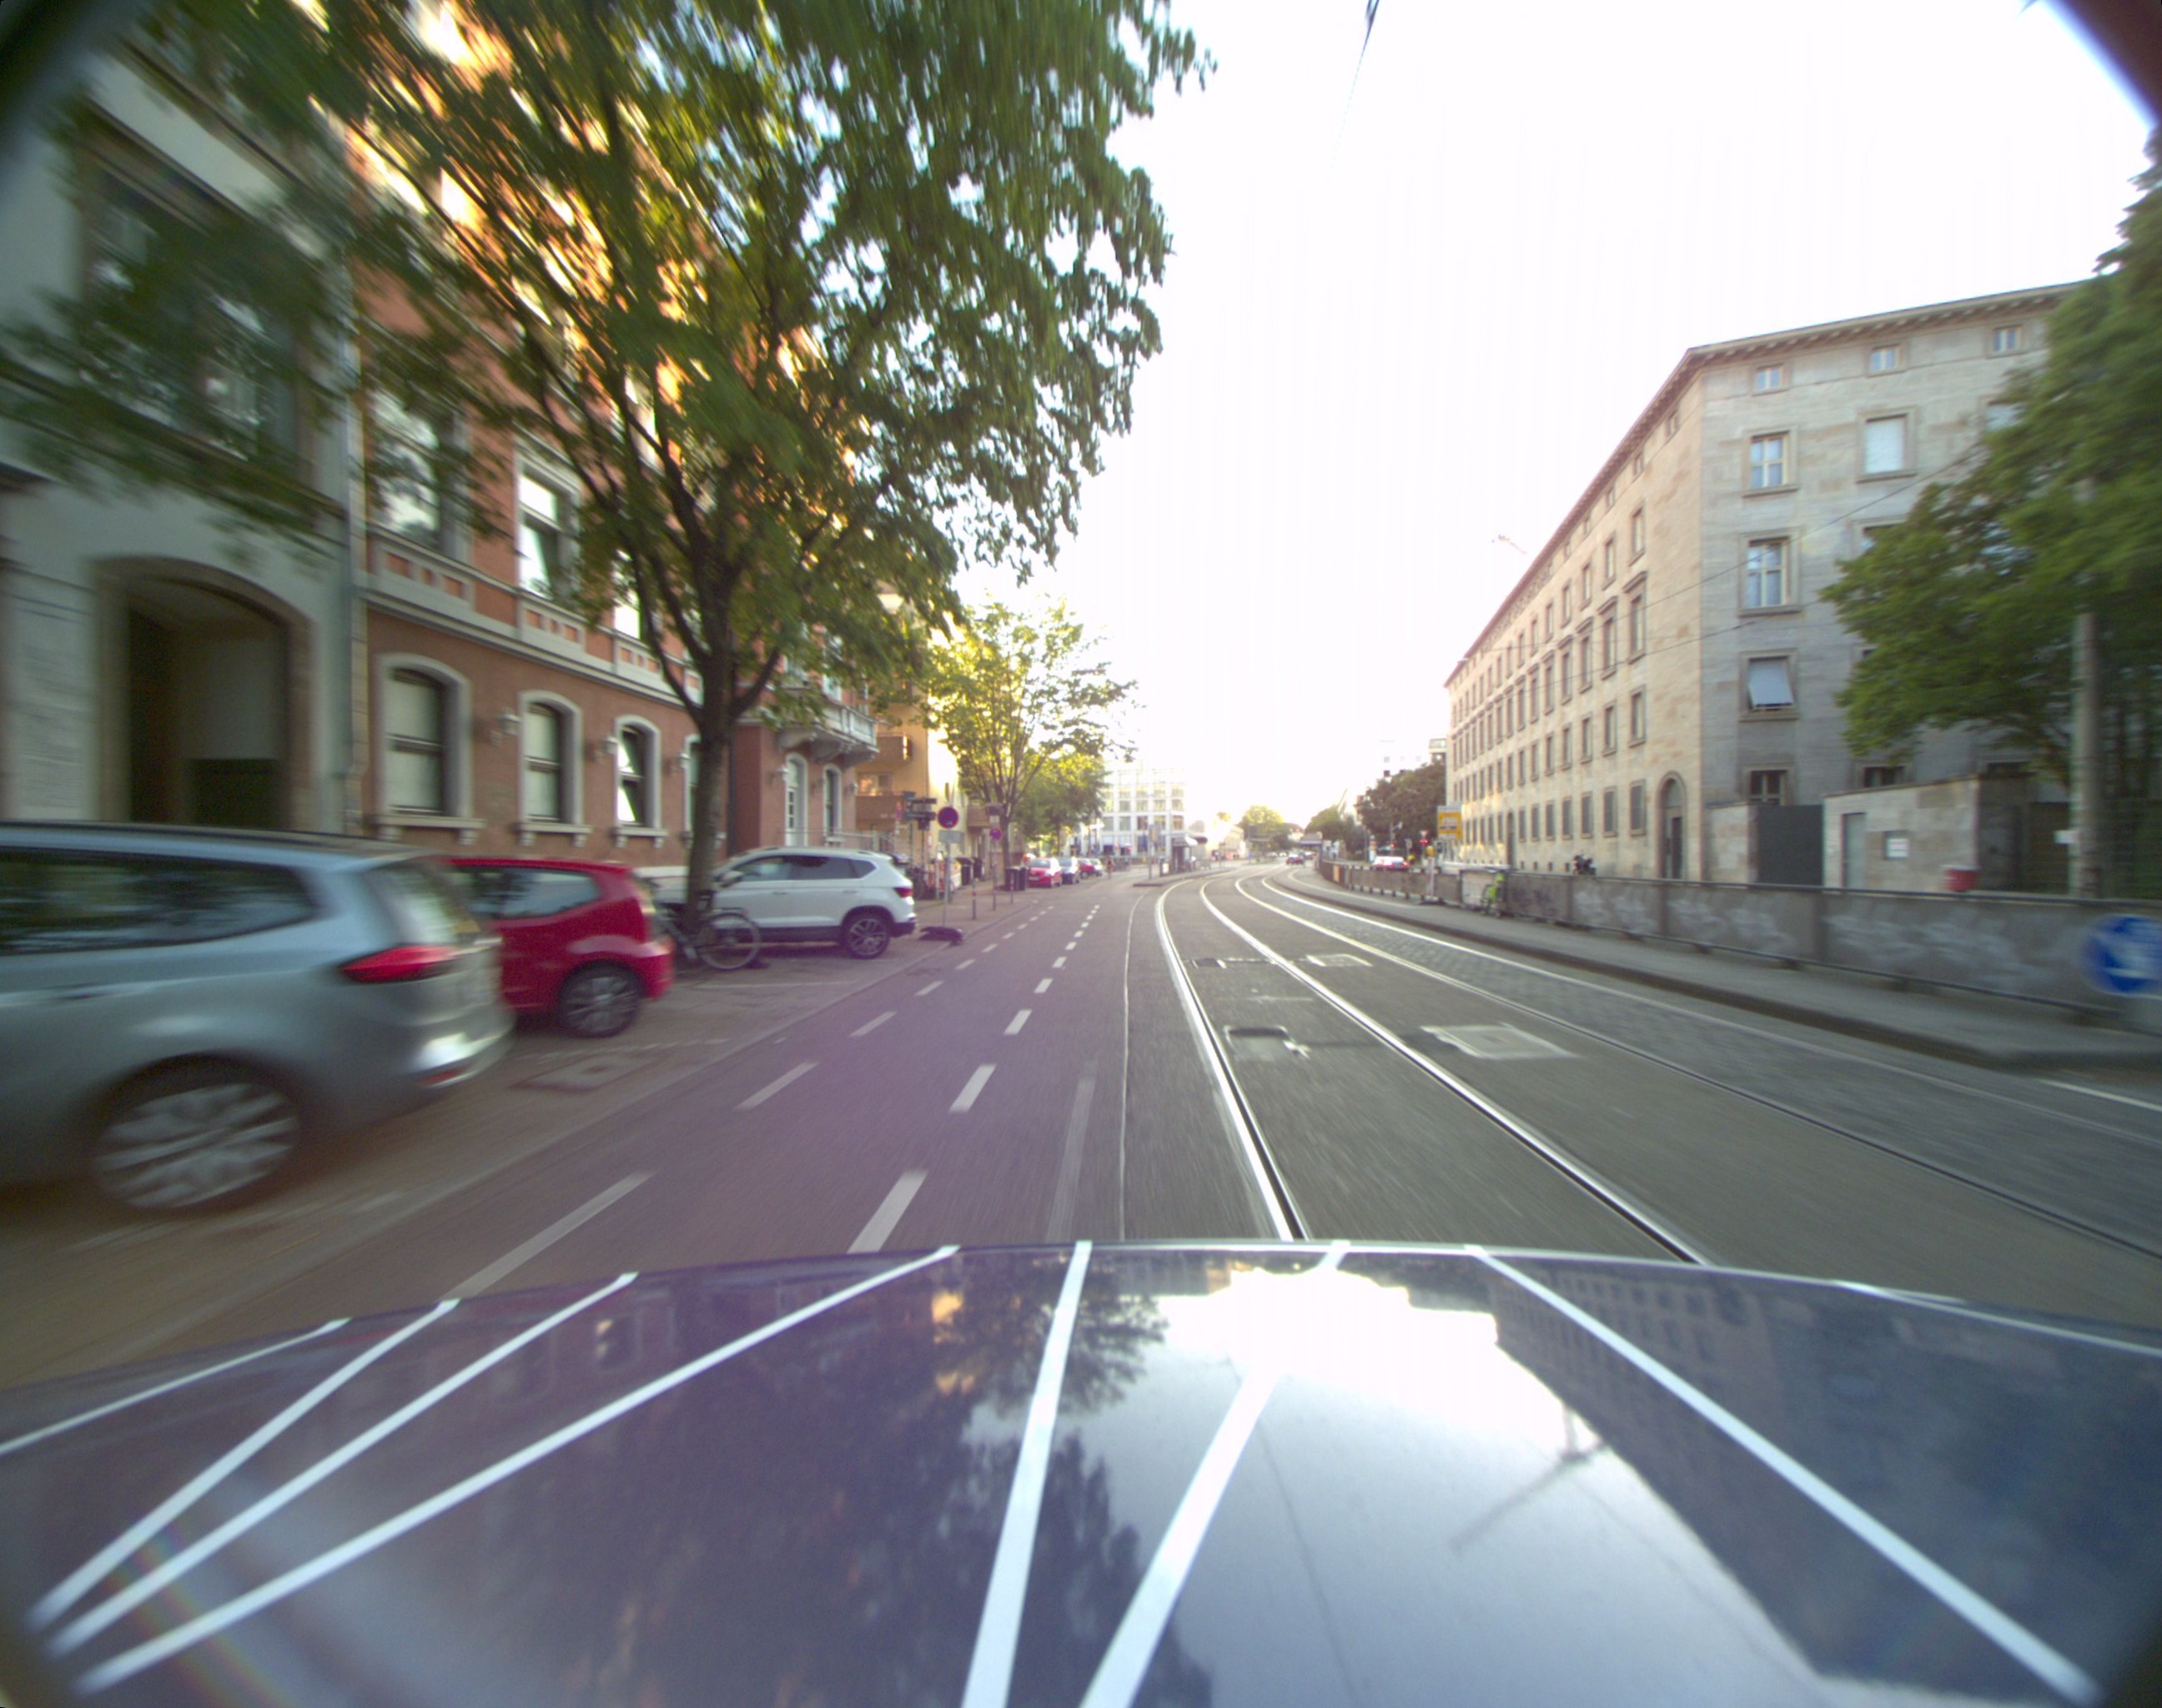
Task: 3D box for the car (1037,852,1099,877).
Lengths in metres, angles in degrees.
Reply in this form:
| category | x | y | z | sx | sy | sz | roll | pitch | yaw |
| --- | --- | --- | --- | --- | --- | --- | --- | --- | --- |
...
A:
| category | x | y | z | sx | sy | sz | roll | pitch | yaw |
| --- | --- | --- | --- | --- | --- | --- | --- | --- | --- |
| car | -0.966 | 0.747 | 56.127 | 4.215 | 1.715 | 1.718 | -1 | 0 | -25 |

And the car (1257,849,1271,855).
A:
| category | x | y | z | sx | sy | sz | roll | pitch | yaw |
| --- | --- | --- | --- | --- | --- | --- | --- | --- | --- |
| car | 54.727 | -0.643 | 226.978 | 3.802 | 1.639 | 1.866 | -1 | 0 | 17 |

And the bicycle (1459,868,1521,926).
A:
| category | x | y | z | sx | sy | sz | roll | pitch | yaw |
| --- | --- | --- | --- | --- | --- | --- | --- | --- | --- |
| bicycle | 8.362 | 0.840 | 15.617 | 0.463 | 1.069 | 2.023 | 0 | 0 | 8 |

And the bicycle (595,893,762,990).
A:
| category | x | y | z | sx | sy | sz | roll | pitch | yaw |
| --- | --- | --- | --- | --- | --- | --- | --- | --- | --- |
| bicycle | -4.754 | 1.033 | 9.069 | 1.671 | 1.068 | 0.463 | 3 | 0 | -20 |

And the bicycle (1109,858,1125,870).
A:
| category | x | y | z | sx | sy | sz | roll | pitch | yaw |
| --- | --- | --- | --- | --- | --- | --- | --- | --- | --- |
| bicycle | 3.684 | 1.032 | 77.531 | 1.528 | 1.156 | 0.745 | -1 | 0 | 19 |

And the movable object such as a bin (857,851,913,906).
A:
| category | x | y | z | sx | sy | sz | roll | pitch | yaw |
| --- | --- | --- | --- | --- | --- | --- | --- | --- | --- |
| movable object such as a bin | -5.576 | 0.673 | 21.731 | 1.143 | 1.493 | 1.399 | -1 | 0 | 3 |

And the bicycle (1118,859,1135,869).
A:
| category | x | y | z | sx | sy | sz | roll | pitch | yaw |
| --- | --- | --- | --- | --- | --- | --- | --- | --- | --- |
| bicycle | 4.714 | 1.043 | 78.585 | 1.553 | 1.068 | 0.745 | -1 | 0 | 19 |

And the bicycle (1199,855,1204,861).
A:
| category | x | y | z | sx | sy | sz | roll | pitch | yaw |
| --- | --- | --- | --- | --- | --- | --- | --- | --- | --- |
| bicycle | 19.941 | 0.624 | 126.192 | 0.539 | 1.045 | 1.763 | -1 | 0 | 18 |

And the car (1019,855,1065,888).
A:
| category | x | y | z | sx | sy | sz | roll | pitch | yaw |
| --- | --- | --- | --- | --- | --- | --- | --- | --- | --- |
| car | -1.908 | 0.824 | 38.301 | 1.567 | 1.527 | 3.695 | 1 | 0 | 9 |

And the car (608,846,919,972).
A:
| category | x | y | z | sx | sy | sz | roll | pitch | yaw |
| --- | --- | --- | --- | --- | --- | --- | --- | --- | --- |
| car | -4.610 | 0.757 | 11.322 | 3.961 | 1.617 | 1.670 | 2 | -1 | -27 |

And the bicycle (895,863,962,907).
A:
| category | x | y | z | sx | sy | sz | roll | pitch | yaw |
| --- | --- | --- | --- | --- | --- | --- | --- | --- | --- |
| bicycle | -4.649 | 0.927 | 23.222 | 1.921 | 1.259 | 0.600 | 0 | 1 | -31 |

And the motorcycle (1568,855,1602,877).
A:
| category | x | y | z | sx | sy | sz | roll | pitch | yaw |
| --- | --- | --- | --- | --- | --- | --- | --- | --- | --- |
| motorcycle | 25.647 | 0.617 | 38.720 | 0.699 | 1.068 | 2.657 | 0 | 0 | 17 |

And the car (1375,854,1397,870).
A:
| category | x | y | z | sx | sy | sz | roll | pitch | yaw |
| --- | --- | --- | --- | --- | --- | --- | --- | --- | --- |
| car | 29.606 | 0.739 | 73.888 | 1.644 | 1.419 | 4.238 | 1 | 1 | 17 |

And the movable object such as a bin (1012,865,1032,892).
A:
| category | x | y | z | sx | sy | sz | roll | pitch | yaw |
| --- | --- | --- | --- | --- | --- | --- | --- | --- | --- |
| movable object such as a bin | -2.629 | 1.086 | 33.796 | 0.713 | 1.147 | 0.589 | -1 | 0 | 16 |

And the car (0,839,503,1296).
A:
| category | x | y | z | sx | sy | sz | roll | pitch | yaw |
| --- | --- | --- | --- | --- | --- | --- | --- | --- | --- |
| car | -5.147 | 0.779 | 3.277 | 3.961 | 1.659 | 1.897 | 2 | 1 | -29 |

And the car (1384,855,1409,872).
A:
| category | x | y | z | sx | sy | sz | roll | pitch | yaw |
| --- | --- | --- | --- | --- | --- | --- | --- | --- | --- |
| car | 28.031 | 0.803 | 67.601 | 1.644 | 1.419 | 3.710 | 1 | 0 | 17 |

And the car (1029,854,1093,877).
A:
| category | x | y | z | sx | sy | sz | roll | pitch | yaw |
| --- | --- | --- | --- | --- | --- | --- | --- | --- | --- |
| car | -1.384 | 0.796 | 53.768 | 4.216 | 1.445 | 1.642 | -1 | 0 | -26 |

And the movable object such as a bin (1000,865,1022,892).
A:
| category | x | y | z | sx | sy | sz | roll | pitch | yaw |
| --- | --- | --- | --- | --- | --- | --- | --- | --- | --- |
| movable object such as a bin | -3.067 | 1.072 | 33.227 | 0.794 | 1.147 | 0.589 | -1 | 0 | 16 |

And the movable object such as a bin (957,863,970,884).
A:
| category | x | y | z | sx | sy | sz | roll | pitch | yaw |
| --- | --- | --- | --- | --- | --- | --- | --- | --- | --- |
| movable object such as a bin | -5.923 | 0.992 | 38.339 | 0.555 | 1.041 | 0.571 | -1 | 0 | 3 |

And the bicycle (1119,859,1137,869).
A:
| category | x | y | z | sx | sy | sz | roll | pitch | yaw |
| --- | --- | --- | --- | --- | --- | --- | --- | --- | --- |
| bicycle | 5.041 | 1.056 | 81.941 | 1.860 | 1.068 | 0.745 | -1 | 0 | 35 |

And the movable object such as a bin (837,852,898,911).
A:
| category | x | y | z | sx | sy | sz | roll | pitch | yaw |
| --- | --- | --- | --- | --- | --- | --- | --- | --- | --- |
| movable object such as a bin | -5.663 | 0.713 | 20.258 | 1.143 | 1.493 | 1.399 | -1 | 0 | 3 |

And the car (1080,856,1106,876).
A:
| category | x | y | z | sx | sy | sz | roll | pitch | yaw |
| --- | --- | --- | --- | --- | --- | --- | --- | --- | --- |
| car | 1.016 | 0.953 | 62.392 | 1.683 | 1.544 | 4.002 | 2 | 0 | 6 |

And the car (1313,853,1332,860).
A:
| category | x | y | z | sx | sy | sz | roll | pitch | yaw |
| --- | --- | --- | --- | --- | --- | --- | --- | --- | --- |
| car | 55.722 | 0.582 | 175.451 | 1.889 | 1.654 | 4.337 | -1 | 0 | -22 |

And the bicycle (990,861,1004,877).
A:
| category | x | y | z | sx | sy | sz | roll | pitch | yaw |
| --- | --- | --- | --- | --- | --- | --- | --- | --- | --- |
| bicycle | -5.811 | 1.045 | 52.755 | 0.652 | 1.068 | 1.556 | -1 | 0 | 4 |

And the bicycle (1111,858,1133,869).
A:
| category | x | y | z | sx | sy | sz | roll | pitch | yaw |
| --- | --- | --- | --- | --- | --- | --- | --- | --- | --- |
| bicycle | 4.395 | 1.031 | 81.087 | 2.232 | 1.125 | 0.745 | 0 | 1 | 19 |

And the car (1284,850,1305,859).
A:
| category | x | y | z | sx | sy | sz | roll | pitch | yaw |
| --- | --- | --- | --- | --- | --- | --- | --- | --- | --- |
| car | 32.519 | 0.060 | 115.619 | 1.693 | 1.412 | 4.182 | 0 | 0 | 38 |

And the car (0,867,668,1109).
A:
| category | x | y | z | sx | sy | sz | roll | pitch | yaw |
| --- | --- | --- | --- | --- | --- | --- | --- | --- | --- |
| car | -5.703 | 0.893 | 6.249 | 3.961 | 1.468 | 1.826 | 2 | -1 | -27 |

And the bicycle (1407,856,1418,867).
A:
| category | x | y | z | sx | sy | sz | roll | pitch | yaw |
| --- | --- | --- | --- | --- | --- | --- | --- | --- | --- |
| bicycle | 31.322 | 0.671 | 71.834 | 0.742 | 1.011 | 1.763 | -1 | 0 | 18 |

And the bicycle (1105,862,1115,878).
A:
| category | x | y | z | sx | sy | sz | roll | pitch | yaw |
| --- | --- | --- | --- | --- | --- | --- | --- | --- | --- |
| bicycle | 2.102 | 1.111 | 54.567 | 0.609 | 1.108 | 2.087 | -1 | 0 | 4 |

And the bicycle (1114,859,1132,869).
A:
| category | x | y | z | sx | sy | sz | roll | pitch | yaw |
| --- | --- | --- | --- | --- | --- | --- | --- | --- | --- |
| bicycle | 4.475 | 1.098 | 80.898 | 1.757 | 1.068 | 0.745 | -1 | 0 | 19 |

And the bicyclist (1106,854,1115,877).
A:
| category | x | y | z | sx | sy | sz | roll | pitch | yaw |
| --- | --- | --- | --- | --- | --- | --- | --- | --- | --- |
| bicyclist | 2.088 | 0.845 | 54.420 | 0.610 | 1.626 | 0.597 | -1 | 0 | 4 |

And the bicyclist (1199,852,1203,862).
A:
| category | x | y | z | sx | sy | sz | roll | pitch | yaw |
| --- | --- | --- | --- | --- | --- | --- | --- | --- | --- |
| bicyclist | 19.914 | 0.463 | 126.095 | 0.540 | 1.626 | 0.598 | 0 | 1 | 17 |

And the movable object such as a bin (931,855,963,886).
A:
| category | x | y | z | sx | sy | sz | roll | pitch | yaw |
| --- | --- | --- | --- | --- | --- | --- | --- | --- | --- |
| movable object such as a bin | -6.547 | 0.791 | 37.229 | 1.143 | 1.493 | 1.598 | -1 | 0 | 3 |

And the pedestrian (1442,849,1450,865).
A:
| category | x | y | z | sx | sy | sz | roll | pitch | yaw |
| --- | --- | --- | --- | --- | --- | --- | --- | --- | --- |
| pedestrian | 38.933 | 0.282 | 81.099 | 0.696 | 1.700 | 0.647 | -1 | 1 | 20 |

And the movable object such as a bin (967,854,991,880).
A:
| category | x | y | z | sx | sy | sz | roll | pitch | yaw |
| --- | --- | --- | --- | --- | --- | --- | --- | --- | --- |
| movable object such as a bin | -6.095 | 0.781 | 45.382 | 1.116 | 1.493 | 1.482 | -1 | 0 | 3 |

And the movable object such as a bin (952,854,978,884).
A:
| category | x | y | z | sx | sy | sz | roll | pitch | yaw |
| --- | --- | --- | --- | --- | --- | --- | --- | --- | --- |
| movable object such as a bin | -5.991 | 0.777 | 39.303 | 1.074 | 1.493 | 1.319 | -1 | 0 | 2 |

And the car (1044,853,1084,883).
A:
| category | x | y | z | sx | sy | sz | roll | pitch | yaw |
| --- | --- | --- | --- | --- | --- | --- | --- | --- | --- |
| car | -0.936 | 0.776 | 44.053 | 1.747 | 1.622 | 4.090 | 1 | 0 | 7 |

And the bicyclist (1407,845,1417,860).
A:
| category | x | y | z | sx | sy | sz | roll | pitch | yaw |
| --- | --- | --- | --- | --- | --- | --- | --- | --- | --- |
| bicyclist | 31.328 | -0.161 | 71.909 | 0.757 | 1.432 | 0.598 | -1 | 0 | 18 |

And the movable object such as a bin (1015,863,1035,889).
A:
| category | x | y | z | sx | sy | sz | roll | pitch | yaw |
| --- | --- | --- | --- | --- | --- | --- | --- | --- | --- |
| movable object such as a bin | -2.613 | 1.017 | 35.320 | 0.624 | 1.147 | 0.714 | -1 | 1 | -43 |

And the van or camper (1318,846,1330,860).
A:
| category | x | y | z | sx | sy | sz | roll | pitch | yaw |
| --- | --- | --- | --- | --- | --- | --- | --- | --- | --- |
| van or camper | 49.302 | -0.102 | 154.265 | 2.107 | 2.665 | 4.718 | -1 | -2 | 19 |
